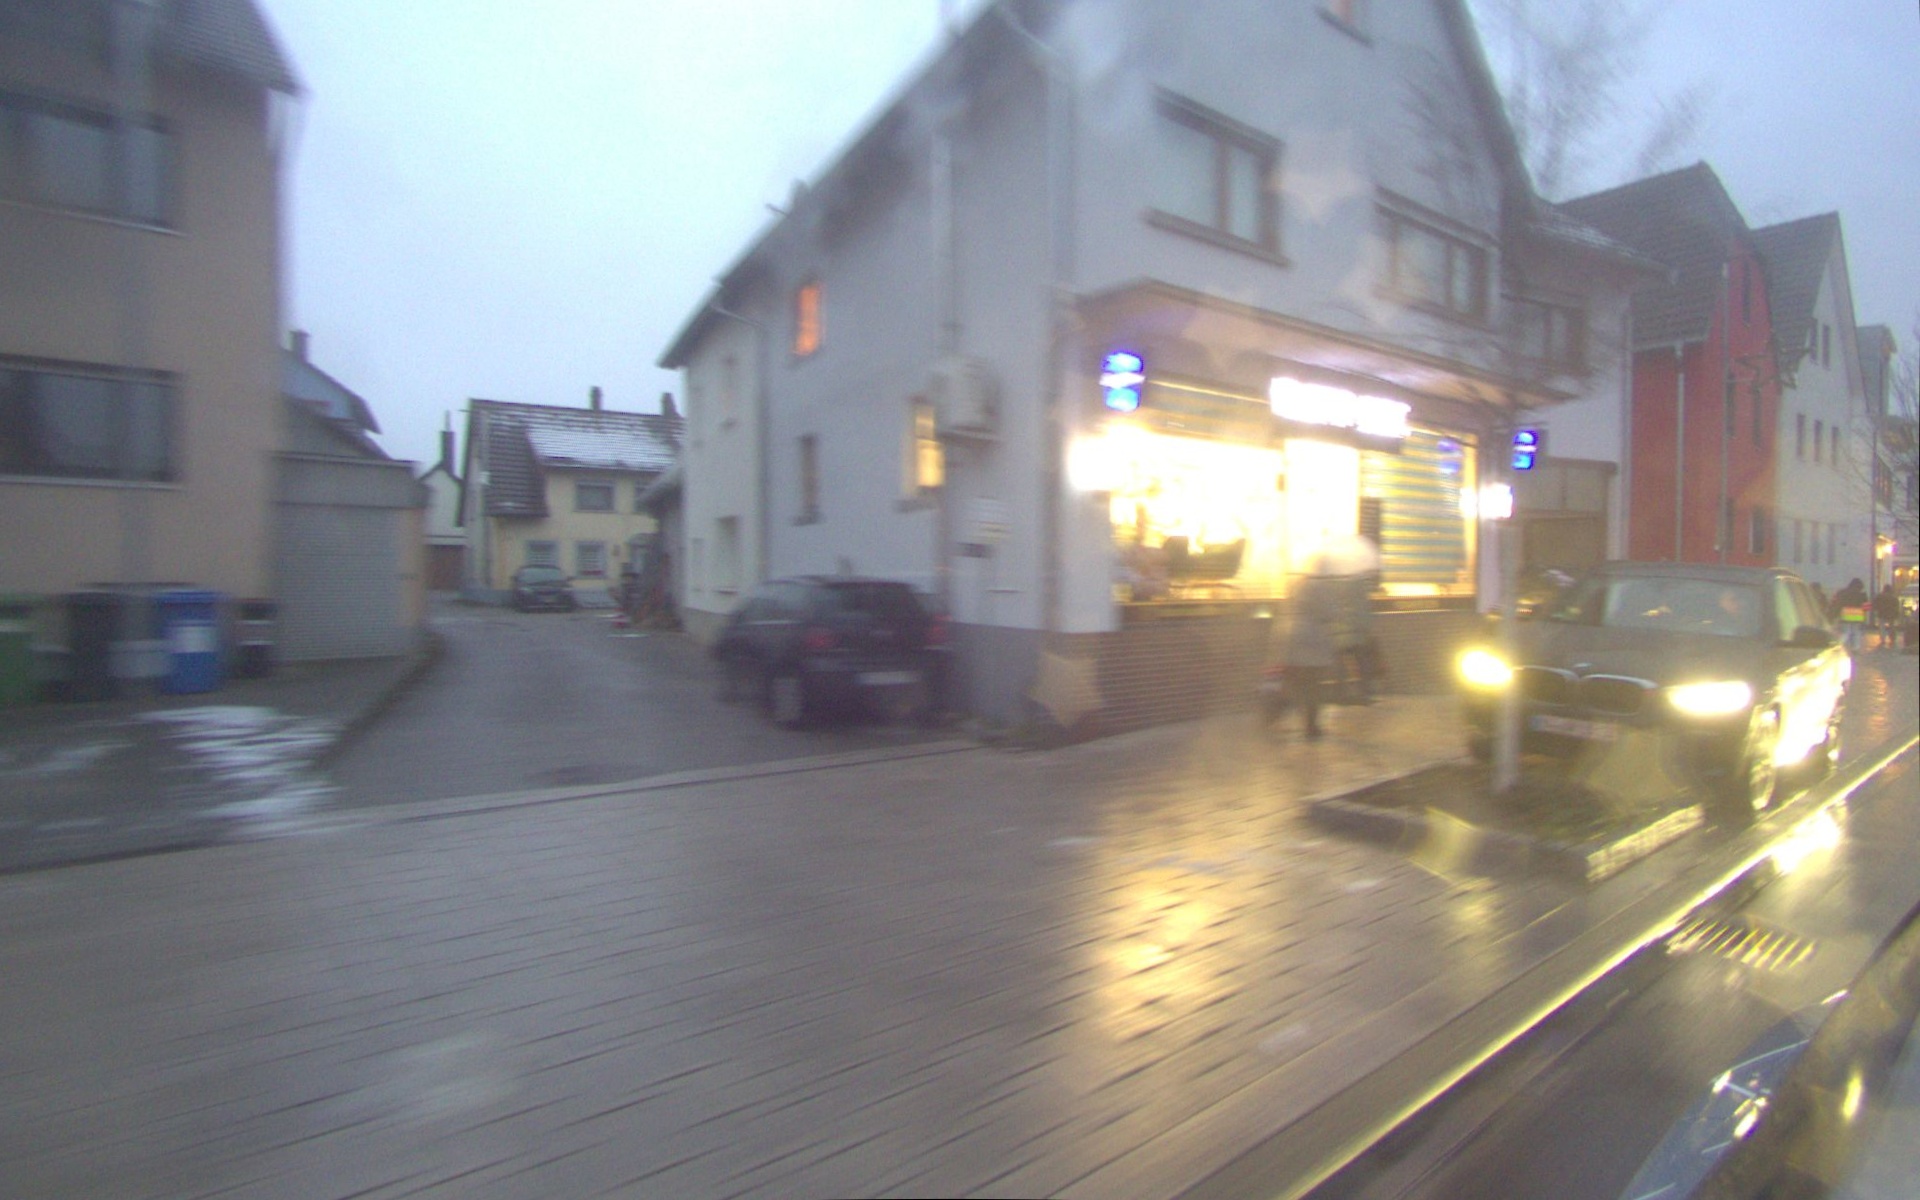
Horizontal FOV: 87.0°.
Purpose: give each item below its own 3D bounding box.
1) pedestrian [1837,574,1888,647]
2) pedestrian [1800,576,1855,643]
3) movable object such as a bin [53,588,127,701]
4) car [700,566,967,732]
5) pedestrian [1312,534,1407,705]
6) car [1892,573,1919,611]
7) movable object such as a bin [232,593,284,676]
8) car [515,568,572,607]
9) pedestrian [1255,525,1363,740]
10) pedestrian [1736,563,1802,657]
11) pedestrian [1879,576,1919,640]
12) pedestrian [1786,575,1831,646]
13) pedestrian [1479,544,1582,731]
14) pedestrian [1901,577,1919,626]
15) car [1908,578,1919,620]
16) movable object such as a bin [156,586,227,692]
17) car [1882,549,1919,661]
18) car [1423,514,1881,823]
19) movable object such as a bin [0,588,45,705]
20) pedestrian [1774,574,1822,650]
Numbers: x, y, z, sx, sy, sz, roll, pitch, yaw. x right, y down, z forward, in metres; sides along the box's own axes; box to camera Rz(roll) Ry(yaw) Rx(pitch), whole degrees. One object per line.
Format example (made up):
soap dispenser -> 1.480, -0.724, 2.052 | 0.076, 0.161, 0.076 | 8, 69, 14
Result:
pedestrian -> 20.519, 0.229, 23.004 | 0.710, 1.625, 0.731 | 0, 1, -39
pedestrian -> 23.271, 0.232, 27.152 | 1.008, 1.745, 0.973 | 0, 0, -41
movable object such as a bin -> -8.626, 0.413, 10.030 | 0.534, 1.053, 0.728 | 0, 1, -42
car -> -1.515, 0.385, 10.873 | 1.627, 1.403, 3.567 | 1, 2, -29
pedestrian -> 4.238, 0.187, 10.750 | 0.638, 1.742, 0.610 | 1, 2, -35
car -> 53.861, -0.427, 56.135 | 1.980, 2.038, 4.269 | 2, 1, 26
movable object such as a bin -> -8.284, 0.389, 11.940 | 0.416, 0.937, 0.671 | 0, 1, -42
car -> -14.161, -0.455, 34.290 | 1.599, 1.240, 3.753 | 1, 2, -25
pedestrian -> 3.086, 0.264, 8.980 | 0.498, 1.819, 0.651 | 2, 2, -29
pedestrian -> 15.828, 0.178, 19.797 | 1.041, 1.786, 0.819 | 0, 1, -41
pedestrian -> 26.316, 0.205, 28.260 | 0.913, 1.745, 0.859 | 0, 0, -41
pedestrian -> 19.851, 0.227, 23.684 | 0.710, 1.625, 0.656 | 0, 1, -39
pedestrian -> 5.553, 0.340, 9.866 | 0.459, 1.742, 0.651 | 1, 2, -35
pedestrian -> 32.181, 0.063, 34.028 | 0.710, 1.625, 0.656 | 0, 1, -39
car -> 43.834, -0.045, 45.314 | 3.934, 1.838, 1.778 | 0, 2, -44
movable object such as a bin -> -8.097, 0.387, 10.662 | 0.534, 1.053, 0.728 | 0, 1, -42
car -> 19.186, 0.129, 19.420 | 3.742, 2.038, 1.747 | 1, 3, -42
car -> 5.723, 0.363, 8.138 | 4.441, 1.806, 1.997 | 0, 2, -42
movable object such as a bin -> -9.034, 0.424, 9.585 | 0.534, 1.053, 0.728 | 0, 1, -42
pedestrian -> 18.473, 0.247, 22.320 | 0.710, 1.625, 0.656 | 0, 1, -39
